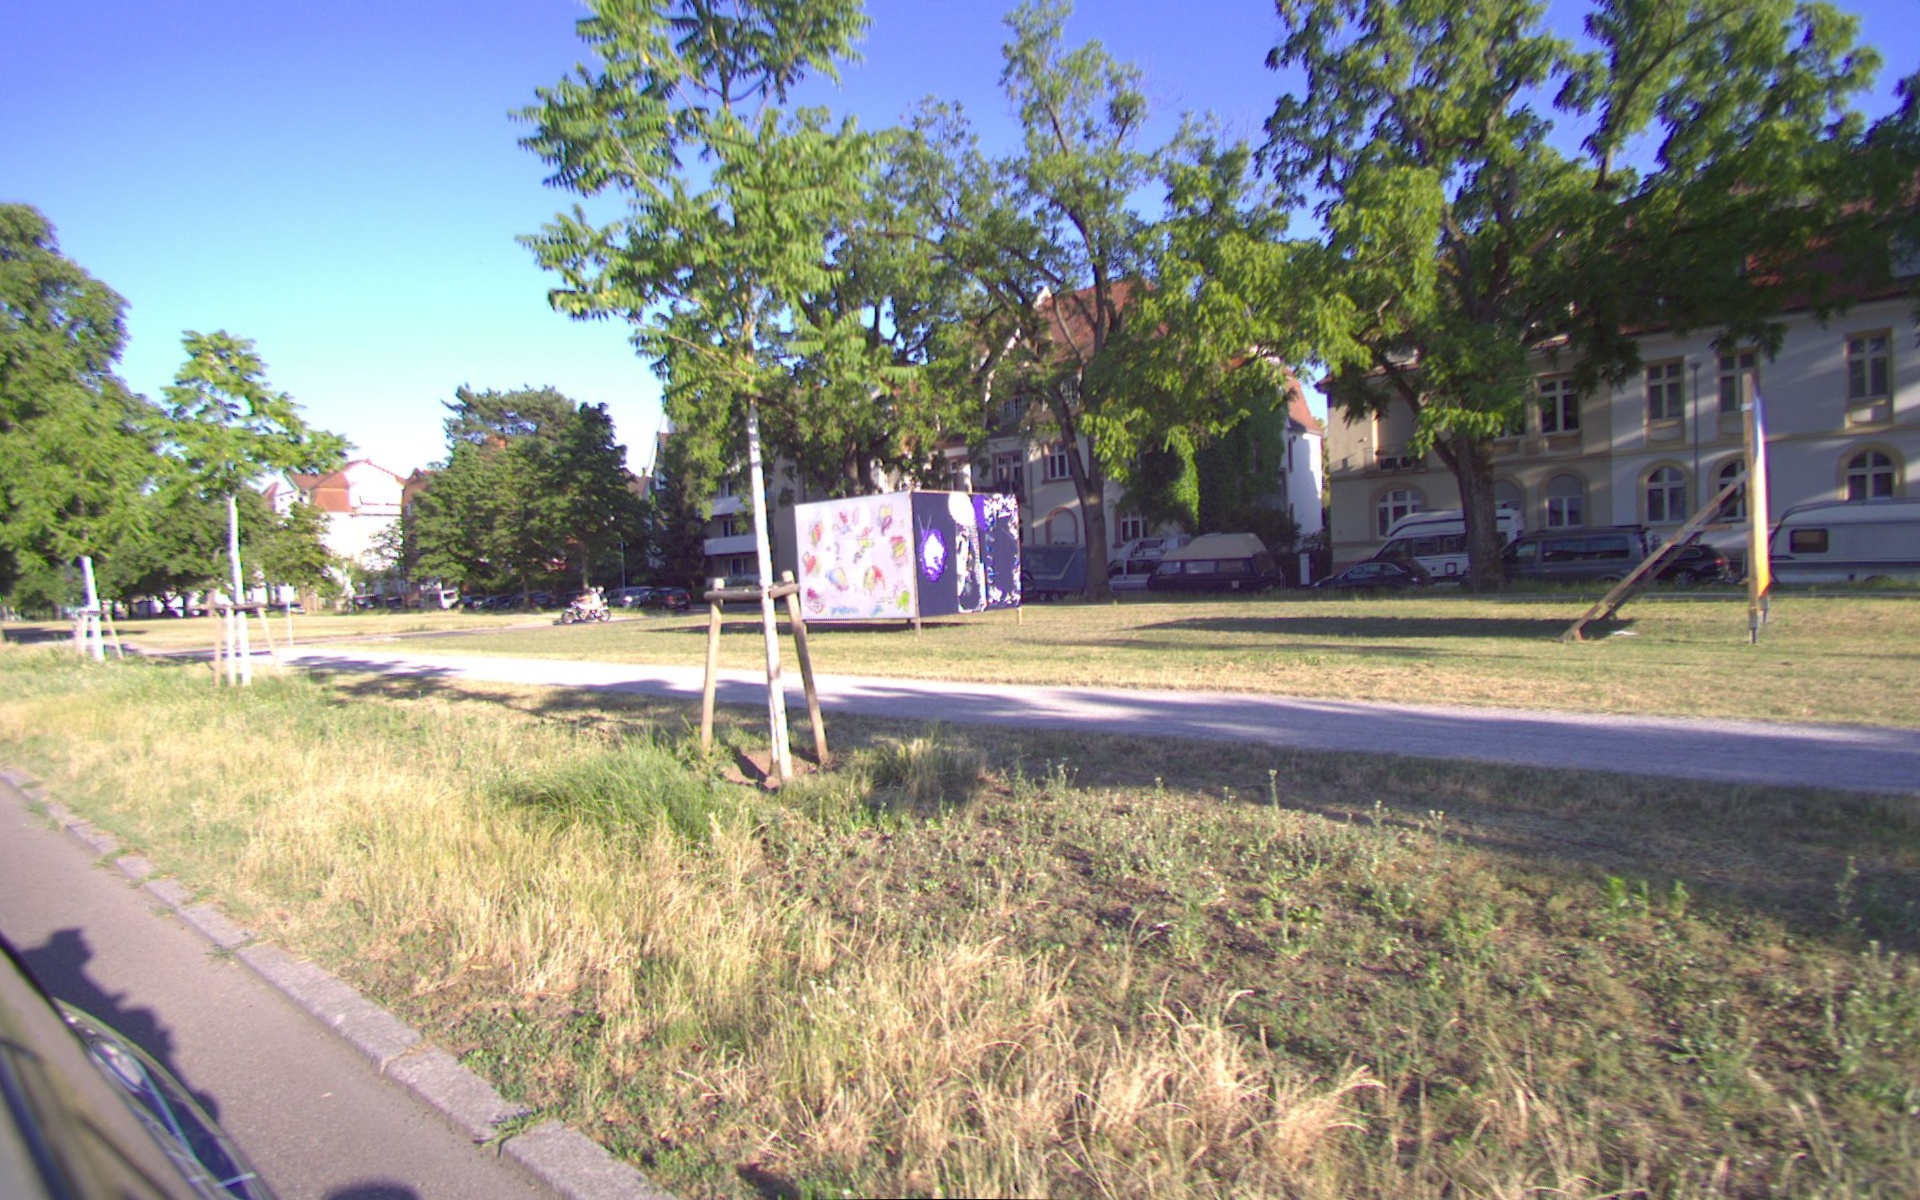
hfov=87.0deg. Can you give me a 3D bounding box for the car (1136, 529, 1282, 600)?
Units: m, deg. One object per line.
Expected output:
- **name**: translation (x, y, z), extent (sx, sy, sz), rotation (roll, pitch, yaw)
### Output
- **car**: translation (8.761, -1.229, 35.817), extent (4.565, 2.190, 1.975), rotation (-3, 1, 39)

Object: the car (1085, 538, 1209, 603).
- **car**: translation (8.105, -1.200, 44.108), extent (5.042, 2.660, 1.925), rotation (0, -1, 41)

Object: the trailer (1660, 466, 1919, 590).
- **trailer**: translation (21.330, -1.660, 24.849), extent (6.632, 2.679, 2.448), rotation (0, -1, 40)

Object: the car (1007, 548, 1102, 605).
- **car**: translation (4.397, -1.106, 47.242), extent (3.998, 2.560, 1.973), rotation (0, 3, 41)

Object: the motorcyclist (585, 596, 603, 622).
- **motorcyclist**: translation (-16.754, 0.410, 46.295), extent (0.566, 1.158, 0.752), rotation (-3, 1, -7)

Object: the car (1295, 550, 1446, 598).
- **car**: translation (12.984, -0.807, 32.138), extent (4.043, 1.325, 1.833), rotation (-1, 3, 44)

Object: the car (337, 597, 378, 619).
- **car**: translation (-53.214, 0.714, 89.404), extent (3.999, 1.858, 1.972), rotation (0, -1, 42)

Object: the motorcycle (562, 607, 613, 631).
- **motorcycle**: translation (-17.012, 0.860, 46.209), extent (2.075, 0.964, 0.568), rotation (-4, 1, -29)

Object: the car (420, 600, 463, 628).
- **car**: translation (-47.349, 1.331, 92.367), extent (4.001, 2.026, 1.974), rotation (-4, 7, 44)

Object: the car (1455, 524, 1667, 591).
- **car**: translation (17.010, -1.181, 28.772), extent (4.946, 1.654, 1.974), rotation (-1, 3, 39)

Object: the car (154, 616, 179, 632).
- **car**: translation (-107.053, 3.279, 136.486), extent (4.000, 2.028, 1.972), rotation (-2, 1, 43)

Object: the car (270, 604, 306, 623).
- **car**: translation (-68.381, 1.342, 102.935), extent (3.998, 1.715, 1.973), rotation (-3, 1, 41)

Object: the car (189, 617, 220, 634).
- **car**: translation (-91.915, 3.087, 123.116), extent (3.996, 2.029, 2.099), rotation (0, -1, 39)

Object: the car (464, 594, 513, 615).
- **car**: translation (-33.550, 0.313, 72.009), extent (3.636, 1.341, 1.542), rotation (-3, 1, 37)

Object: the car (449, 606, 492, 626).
- **car**: translation (-42.715, 1.420, 88.273), extent (4.000, 1.617, 1.972), rotation (-2, 2, 43)

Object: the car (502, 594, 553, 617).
- **car**: translation (-29.468, 0.376, 68.878), extent (3.636, 1.426, 1.542), rotation (-3, 1, 37)

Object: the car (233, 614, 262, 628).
- **car**: translation (-93.007, 2.732, 132.127), extent (3.995, 1.859, 1.974), rotation (0, -1, 38)

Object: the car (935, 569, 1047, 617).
- **car**: translation (1.263, -0.279, 42.461), extent (4.341, 1.741, 1.974), rotation (-3, 1, 40)

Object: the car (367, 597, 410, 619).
- **car**: translation (-48.056, 0.685, 85.016), extent (3.999, 1.858, 1.972), rotation (0, -1, 42)

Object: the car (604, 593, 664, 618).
- **car**: translation (-22.796, 0.401, 70.791), extent (3.992, 1.510, 1.976), rotation (-3, 1, 36)

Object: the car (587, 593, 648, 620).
- **car**: translation (-20.718, 0.399, 61.109), extent (3.636, 1.418, 1.672), rotation (-3, 1, 37)

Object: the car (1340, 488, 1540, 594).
- **car**: translation (17.044, -2.006, 36.194), extent (6.071, 3.273, 1.973), rotation (-3, 1, 41)

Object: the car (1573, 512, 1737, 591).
- **car**: translation (21.753, -1.480, 31.739), extent (3.998, 2.170, 1.973), rotation (-2, 1, 42)

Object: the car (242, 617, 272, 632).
- **car**: translation (-87.514, 3.050, 125.919), extent (3.995, 1.897, 1.974), rotation (0, -1, 38)

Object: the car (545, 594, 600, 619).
- **car**: translation (-24.793, 0.408, 64.699), extent (3.636, 1.379, 1.542), rotation (-3, 1, 37)

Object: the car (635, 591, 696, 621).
- **car**: translation (-17.051, 0.353, 58.483), extent (1.868, 1.534, 3.683), rotation (-3, 0, -43)

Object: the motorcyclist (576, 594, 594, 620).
- **motorcyclist**: translation (-17.300, 0.319, 46.695), extent (0.566, 1.158, 0.752), rotation (-3, 1, -7)

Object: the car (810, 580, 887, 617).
- **car**: translation (-6.223, -0.082, 56.373), extent (4.280, 1.838, 1.605), rotation (-3, 1, 37)

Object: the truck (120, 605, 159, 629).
- **truck**: translation (-118.974, 2.503, 146.701), extent (7.703, 3.169, 2.751), rotation (-2, 1, 40)
